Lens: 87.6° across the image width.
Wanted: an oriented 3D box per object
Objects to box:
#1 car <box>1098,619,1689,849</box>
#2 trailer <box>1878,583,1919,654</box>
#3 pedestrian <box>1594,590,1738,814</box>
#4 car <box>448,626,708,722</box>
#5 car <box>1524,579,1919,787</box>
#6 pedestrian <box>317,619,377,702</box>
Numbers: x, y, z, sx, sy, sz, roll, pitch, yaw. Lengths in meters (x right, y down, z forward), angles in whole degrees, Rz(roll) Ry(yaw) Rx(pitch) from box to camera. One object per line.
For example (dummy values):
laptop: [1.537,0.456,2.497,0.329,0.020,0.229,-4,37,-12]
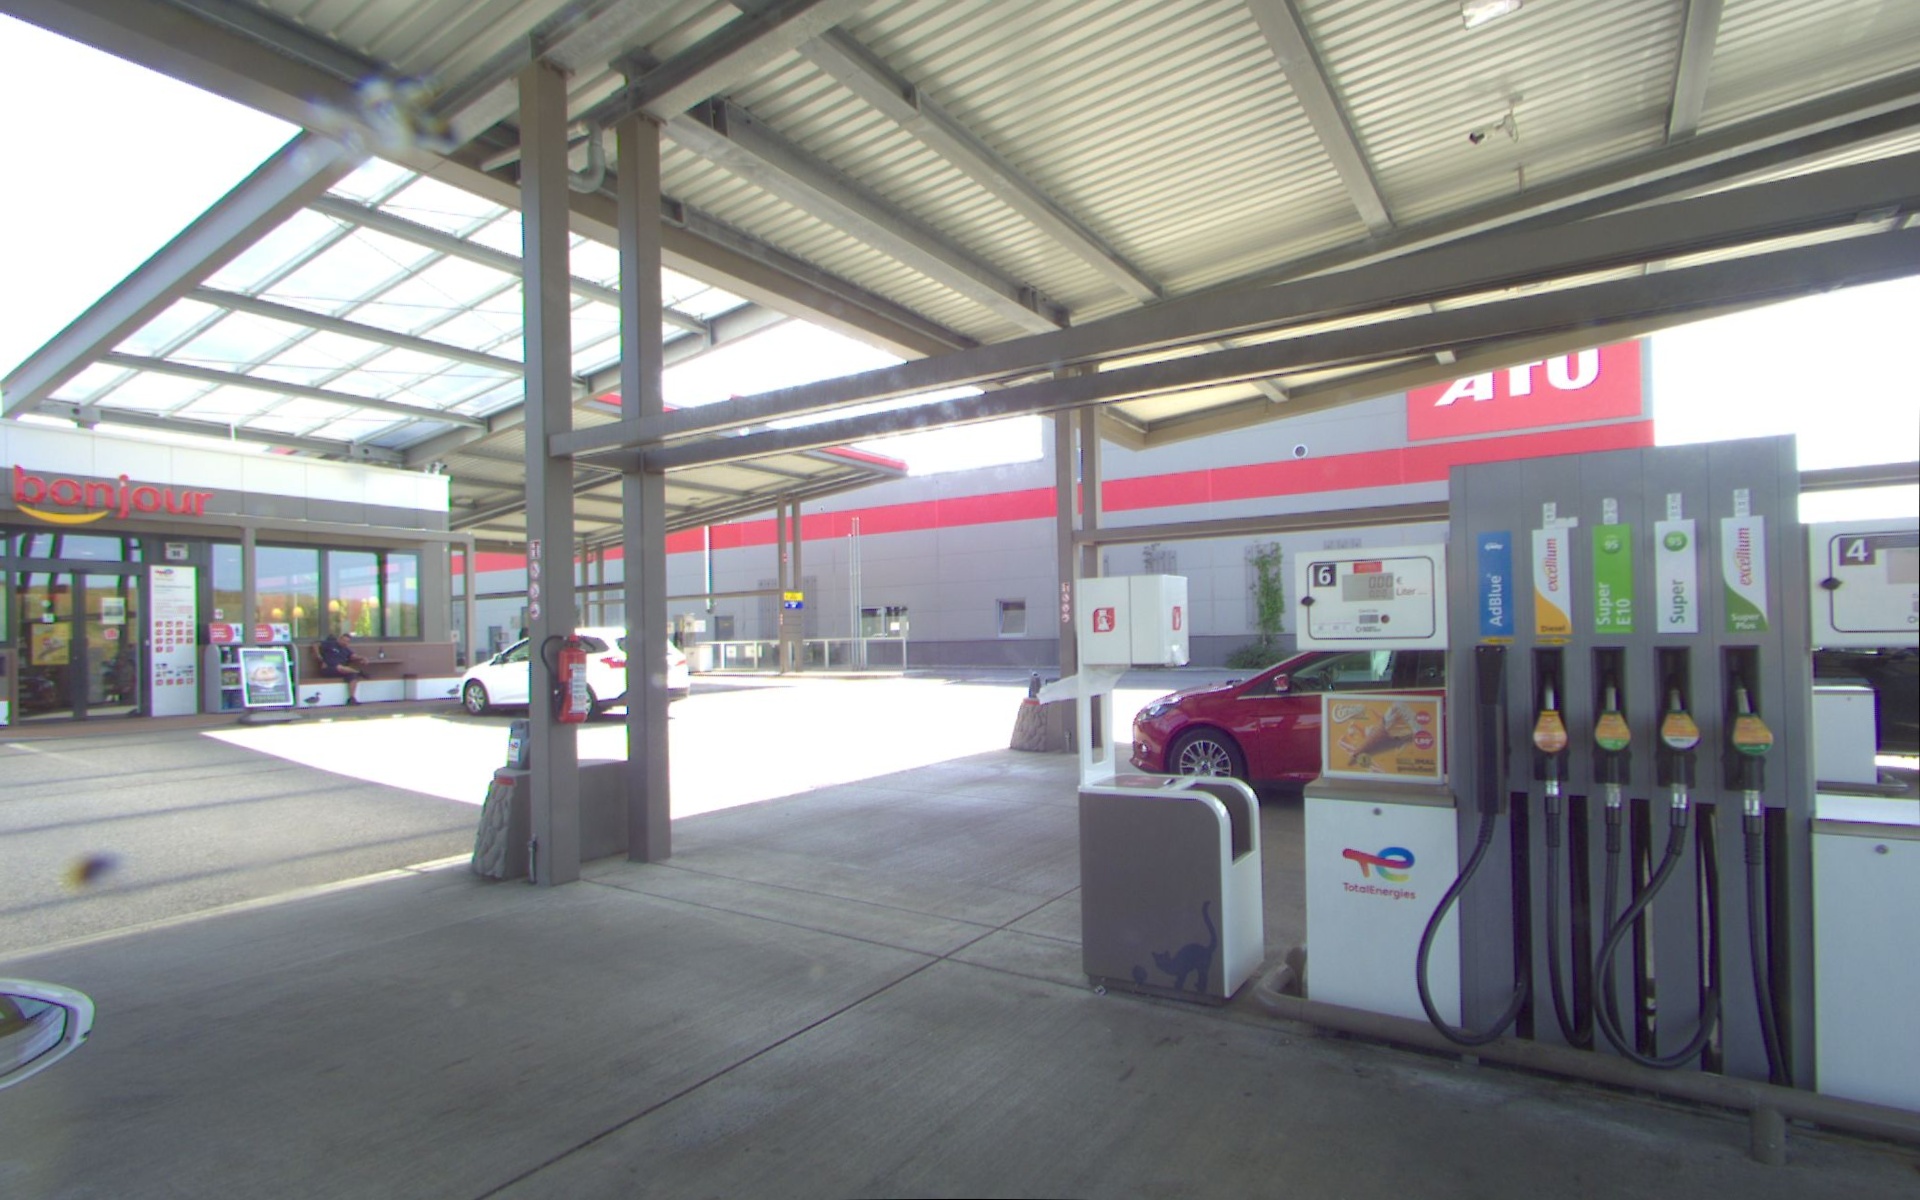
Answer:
car: [3.412,0.928,8.348,4.173,1.488,1.695,-1,-1,33]
trailer: [34.986,0.630,34.926,3.922,2.459,2.000,-1,-1,5]
pedestrian: [5.806,0.803,8.284,0.915,1.725,0.699,-1,-1,34]
car: [-6.613,1.206,17.278,4.253,1.475,1.829,-1,-1,27]
car: [8.575,0.765,10.319,4.730,1.875,2.023,0,0,33]
pedestrian: [-10.986,1.070,17.947,0.663,1.450,0.700,-1,-1,32]
